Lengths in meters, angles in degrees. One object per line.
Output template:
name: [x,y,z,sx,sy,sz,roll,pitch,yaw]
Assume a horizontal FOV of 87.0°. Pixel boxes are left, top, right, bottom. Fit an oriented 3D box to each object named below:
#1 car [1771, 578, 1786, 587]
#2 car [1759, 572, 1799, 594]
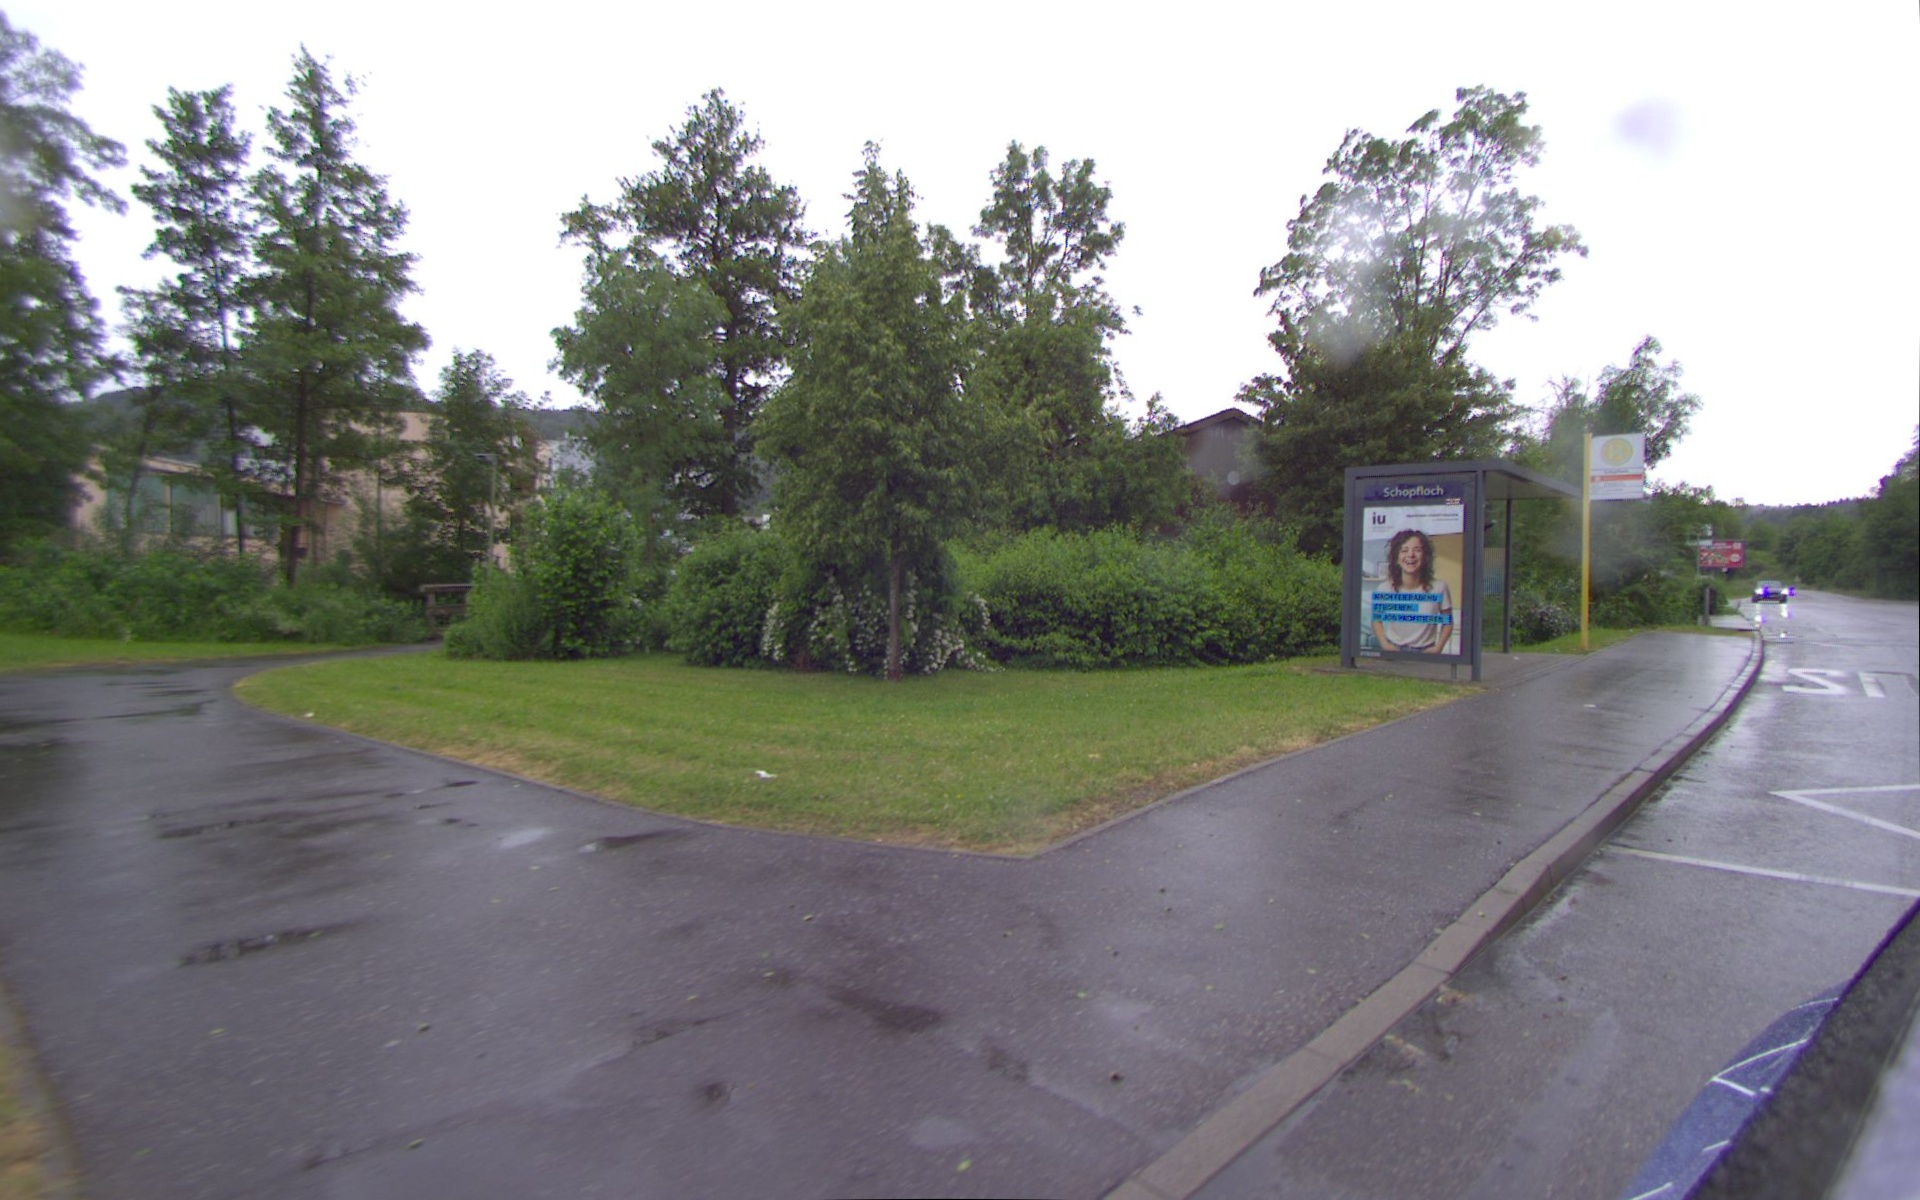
car: [141.602,-2.996,175.066,1.827,1.542,3.942,1,2,40]
car: [56.402,-1.186,69.644,1.851,1.508,4.057,2,2,43]
